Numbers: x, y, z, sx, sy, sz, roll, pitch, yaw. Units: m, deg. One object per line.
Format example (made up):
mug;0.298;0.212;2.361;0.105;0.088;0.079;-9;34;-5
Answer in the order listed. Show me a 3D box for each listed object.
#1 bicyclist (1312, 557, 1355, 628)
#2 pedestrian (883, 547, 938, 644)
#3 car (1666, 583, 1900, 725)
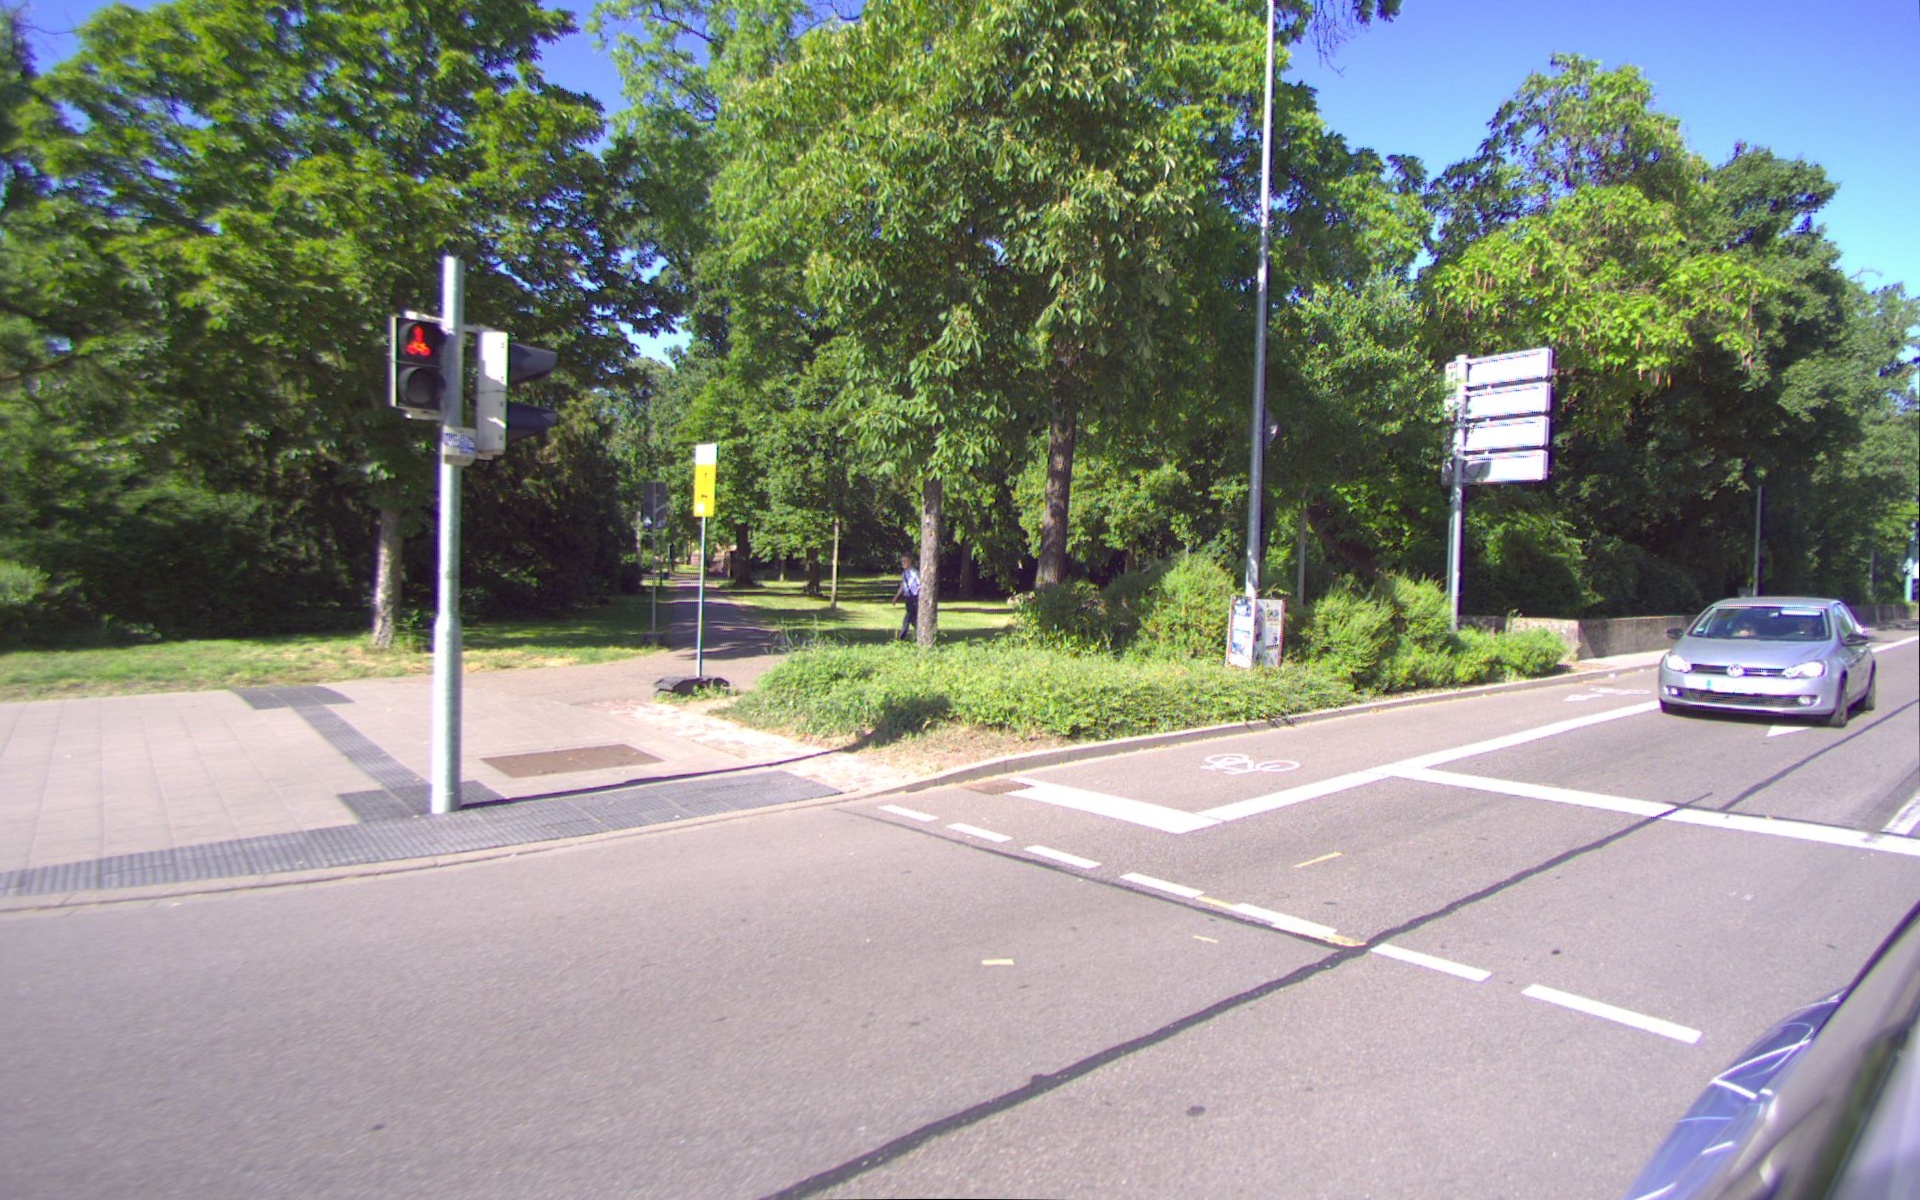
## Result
bicyclist;8.134;-0.172;22.044;0.561;1.526;0.688;0;1;-41
pedestrian;-0.891;-0.092;18.441;0.729;1.723;0.869;1;1;20
car;10.449;0.542;12.759;3.932;1.492;1.701;-1;2;-42
